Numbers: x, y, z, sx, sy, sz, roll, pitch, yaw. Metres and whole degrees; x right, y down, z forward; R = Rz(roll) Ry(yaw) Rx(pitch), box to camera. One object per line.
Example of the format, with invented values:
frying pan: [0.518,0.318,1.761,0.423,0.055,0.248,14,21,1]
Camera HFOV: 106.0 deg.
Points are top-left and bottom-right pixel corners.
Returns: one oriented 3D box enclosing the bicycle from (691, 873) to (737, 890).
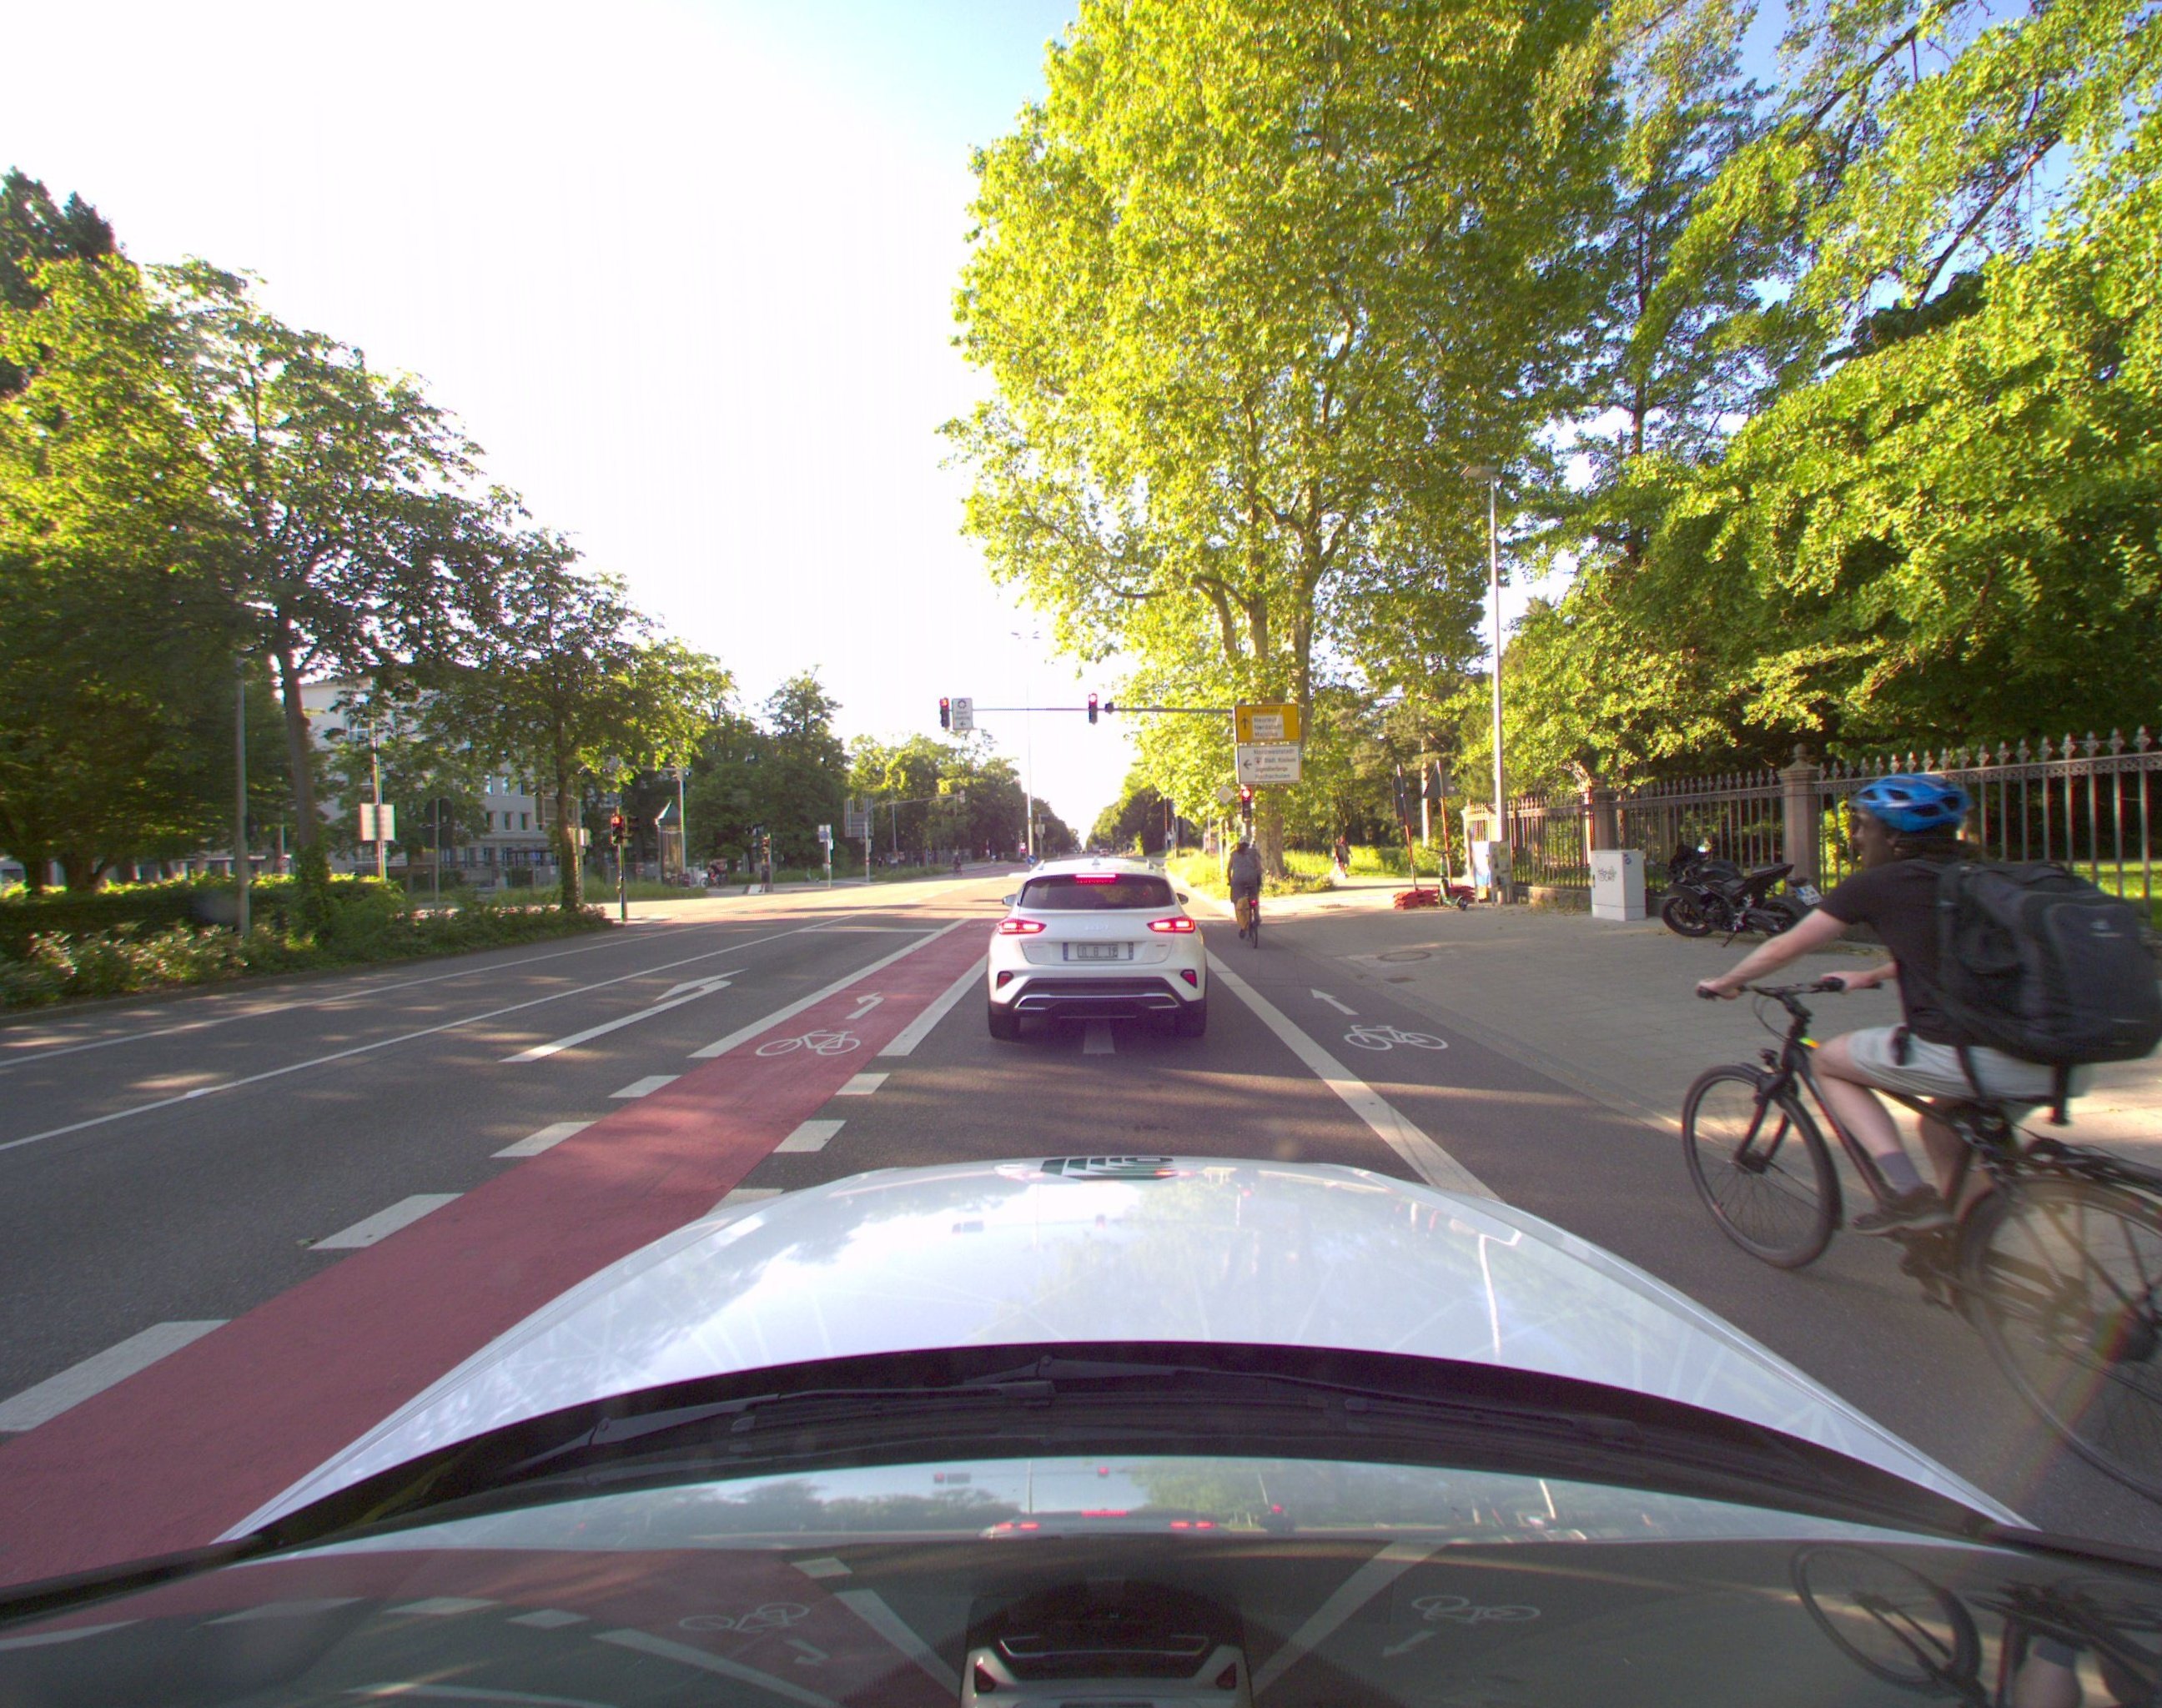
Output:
bicycle: [-23.800,1.793,52.800,2.695,0.989,0.581,-3,0,2]

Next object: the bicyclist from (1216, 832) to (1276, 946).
bicyclist: [2.701,0.543,13.434,0.750,1.795,1.165,0,0,0]

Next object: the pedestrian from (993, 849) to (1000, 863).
pedestrian: [-10.940,0.234,105.943,0.782,1.785,0.751,-1,-1,2]

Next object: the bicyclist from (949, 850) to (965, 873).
bicyclist: [-9.360,0.557,61.321,0.871,1.608,1.189,-3,0,4]

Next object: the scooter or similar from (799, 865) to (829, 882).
scooter or similar: [-18.630,1.343,56.924,0.703,1.124,1.933,-1,0,34]

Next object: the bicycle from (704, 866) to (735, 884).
bicycle: [-24.274,1.422,54.704,1.859,1.148,0.290,-1,-1,-6]

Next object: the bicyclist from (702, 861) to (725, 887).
bicyclist: [-23.826,1.295,52.796,0.971,1.606,0.878,-3,0,2]

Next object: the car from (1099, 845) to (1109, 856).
car: [4.618,-0.760,165.431,1.986,2.013,4.002,-3,0,2]

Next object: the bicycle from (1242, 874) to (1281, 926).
bicycle: [3.663,0.908,16.627,0.400,0.956,1.551,-5,0,0]

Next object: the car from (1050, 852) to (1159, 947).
car: [0.397,0.743,15.104,1.723,1.483,3.516,-3,0,0]

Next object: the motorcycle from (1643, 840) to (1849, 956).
motorcycle: [7.397,0.448,9.230,0.504,1.131,2.170,-4,0,0]

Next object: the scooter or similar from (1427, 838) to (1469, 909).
scooter or similar: [7.147,0.366,15.892,0.227,1.327,1.172,-3,0,0]

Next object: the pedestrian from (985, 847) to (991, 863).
pedestrian: [-12.050,0.153,105.495,0.637,2.014,0.756,-1,-1,13]

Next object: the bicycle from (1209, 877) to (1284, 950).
bicycle: [2.703,0.941,13.617,0.755,1.013,2.569,0,0,0]

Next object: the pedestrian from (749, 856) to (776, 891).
pedestrian: [-18.662,1.113,47.774,0.990,2.014,1.193,-1,-1,7]

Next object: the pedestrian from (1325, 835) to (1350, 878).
pedestrian: [10.368,0.097,32.929,0.688,1.699,0.643,-3,0,-5]

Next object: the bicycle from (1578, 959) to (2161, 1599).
bicycle: [2.493,0.973,2.508,0.666,1.009,2.081,-1,0,0]

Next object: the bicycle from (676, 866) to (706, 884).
bicycle: [-26.357,1.401,55.076,1.853,1.148,0.443,-1,-1,4]

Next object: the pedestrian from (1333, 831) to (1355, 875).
pedestrian: [10.815,-0.025,33.504,0.615,1.771,0.645,-3,0,-5]

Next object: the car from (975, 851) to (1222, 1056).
car: [0.149,0.735,8.073,1.815,1.480,3.936,-1,0,0]

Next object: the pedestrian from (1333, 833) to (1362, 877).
pedestrian: [11.143,0.027,34.108,0.816,1.771,0.831,-3,0,-5]

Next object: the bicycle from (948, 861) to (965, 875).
bicycle: [-9.338,1.049,61.308,0.660,0.989,2.507,-3,0,4]

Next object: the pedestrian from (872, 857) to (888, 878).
pedestrian: [-16.415,1.090,66.528,1.086,1.603,0.999,-3,0,-5]

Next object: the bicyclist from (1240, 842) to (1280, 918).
bicyclist: [3.626,0.514,16.542,0.552,1.478,0.717,-5,0,0]

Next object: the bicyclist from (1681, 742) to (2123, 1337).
bicyclist: [2.489,0.499,2.566,0.663,1.602,0.721,-1,0,0]
